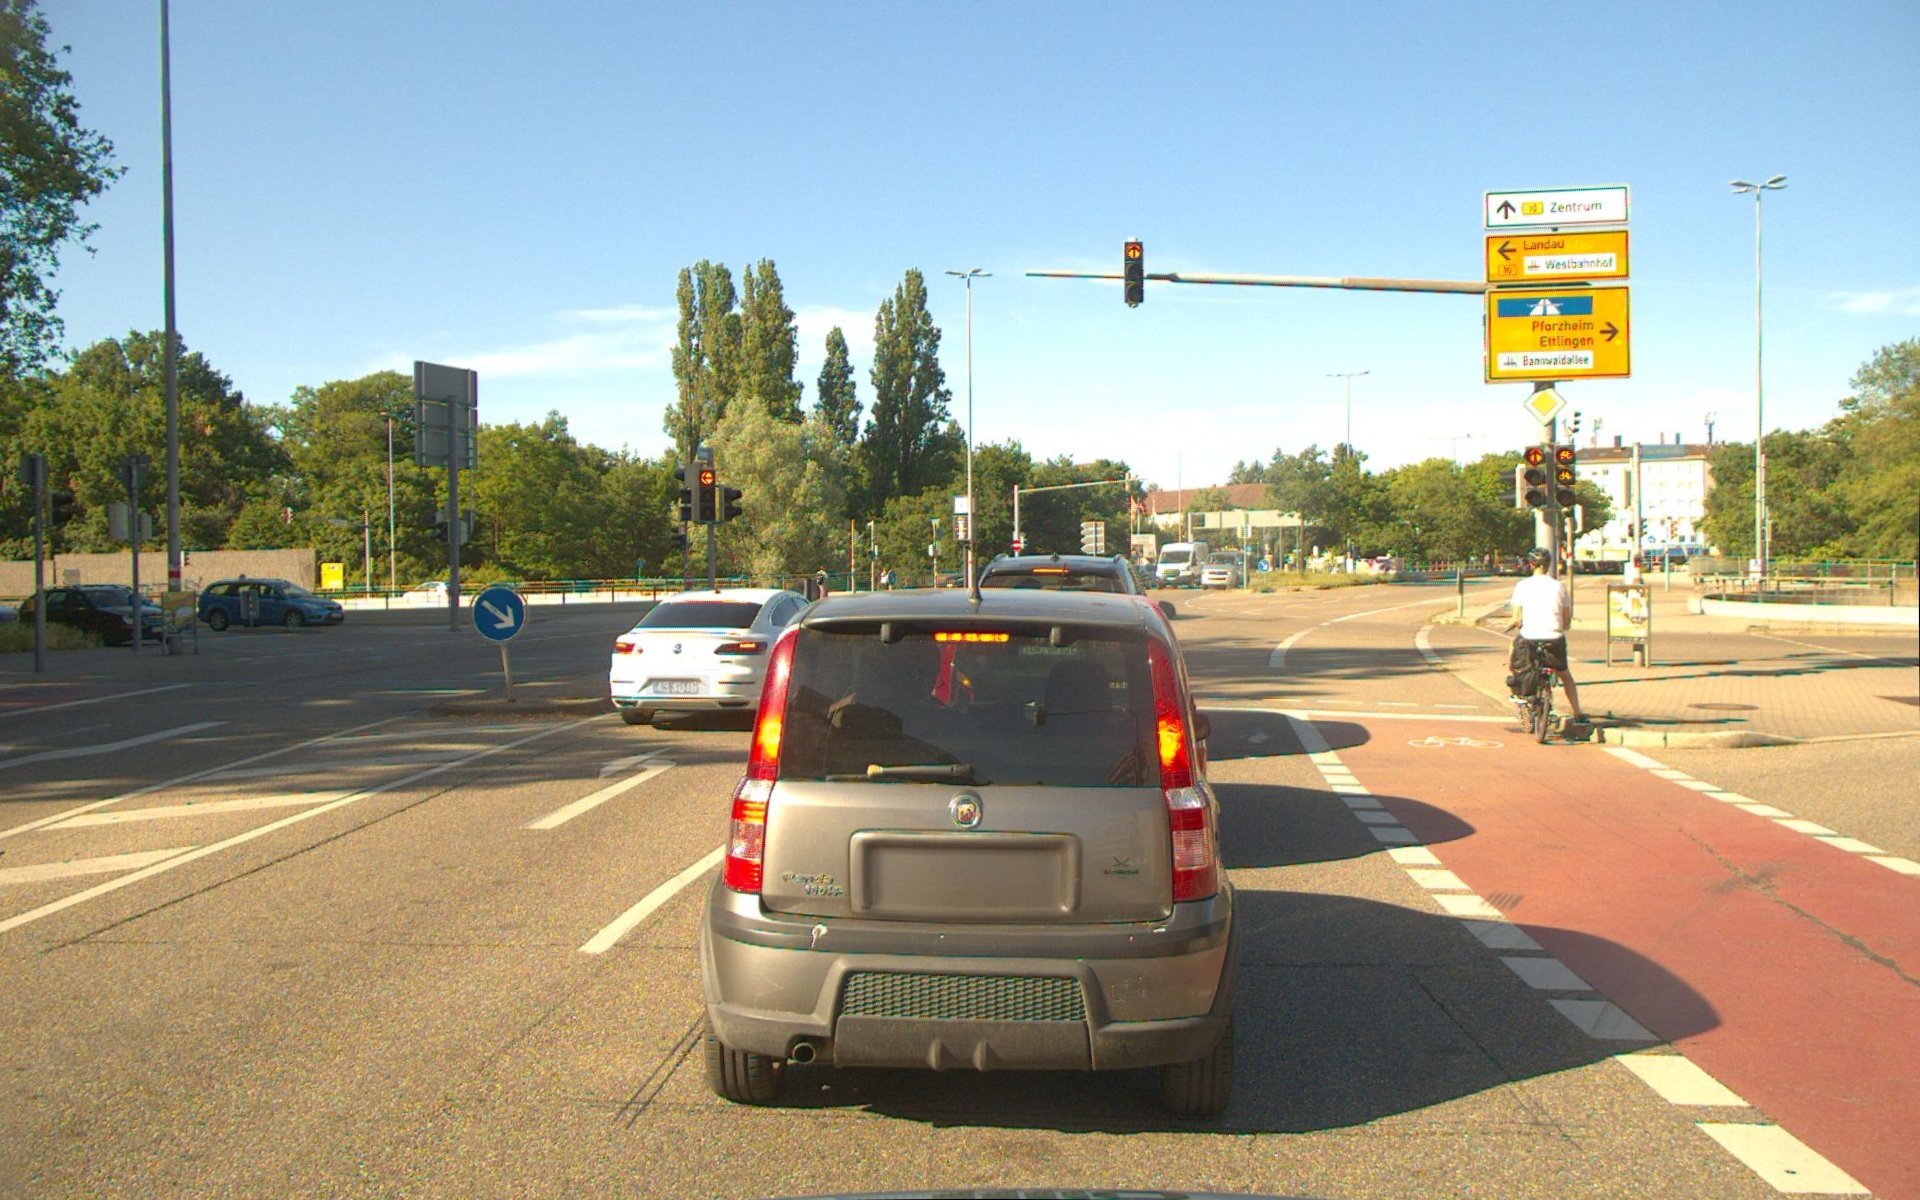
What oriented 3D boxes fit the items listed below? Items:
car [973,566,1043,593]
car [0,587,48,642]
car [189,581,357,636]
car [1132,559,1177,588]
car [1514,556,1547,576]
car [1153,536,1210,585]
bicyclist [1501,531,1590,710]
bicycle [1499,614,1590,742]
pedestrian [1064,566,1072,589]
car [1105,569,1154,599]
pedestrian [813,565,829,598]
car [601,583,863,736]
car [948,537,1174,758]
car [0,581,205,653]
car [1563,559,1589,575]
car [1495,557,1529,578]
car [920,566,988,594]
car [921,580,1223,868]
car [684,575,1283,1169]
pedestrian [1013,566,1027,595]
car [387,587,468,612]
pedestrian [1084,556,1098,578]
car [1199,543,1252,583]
[{"bbox_3d":[2.976,-1.289,102.043,4.292,1.562,1.758,-2,3,-42],"label":"car"},{"bbox_3d":[-26.381,0.381,43.536,4.404,1.381,1.879,0,1,24],"label":"car"},{"bbox_3d":[-20.748,0.244,50.001,4.348,1.567,1.953,-1,1,13],"label":"car"},{"bbox_3d":[11.616,-1.594,98.535,1.773,1.568,4.619,-2,1,18],"label":"car"},{"bbox_3d":[45.920,-2.724,133.053,1.908,1.555,4.093,0,1,27],"label":"car"},{"bbox_3d":[12.212,-2.183,90.955,1.896,2.621,6.091,0,1,19],"label":"car"},{"bbox_3d":[5.740,0.177,16.266,0.708,1.688,1.114,1,1,14],"label":"bicyclist"},{"bbox_3d":[5.754,0.735,16.362,0.676,1.121,1.828,1,1,14],"label":"bicycle"},{"bbox_3d":[8.298,-1.739,127.203,0.488,1.731,0.500,1,-1,24],"label":"pedestrian"},{"bbox_3d":[9.445,-0.925,91.901,1.896,1.534,4.003,-2,1,17],"label":"car"},{"bbox_3d":[-6.277,-0.840,74.823,0.666,1.488,0.702,-1,1,-7],"label":"pedestrian"},{"bbox_3d":[-2.374,0.553,18.375,1.742,1.439,4.323,0,1,8],"label":"car"},{"bbox_3d":[1.116,0.370,16.177,1.904,1.872,4.156,-1,1,7],"label":"car"},{"bbox_3d":[-21.045,0.397,40.233,4.668,1.649,1.953,0,1,15],"label":"car"},{"bbox_3d":[60.704,-3.260,163.024,1.908,1.555,4.092,0,1,28],"label":"car"},{"bbox_3d":[42.436,-2.503,127.037,1.907,1.555,4.093,0,1,27],"label":"car"},{"bbox_3d":[-0.362,-1.238,104.137,3.961,1.653,1.874,1,0,-39],"label":"car"},{"bbox_3d":[0.739,0.645,10.672,1.583,1.488,3.753,-1,1,4],"label":"car"},{"bbox_3d":[0.203,0.698,6.319,1.583,1.542,3.822,-1,1,4],"label":"car"},{"bbox_3d":[3.291,-1.081,90.776,0.547,1.574,0.573,-2,0,-16],"label":"pedestrian"},{"bbox_3d":[-31.388,-0.042,97.476,4.410,1.406,1.787,0,1,21],"label":"car"},{"bbox_3d":[10.008,-2.508,126.468,0.777,1.693,0.626,0,-1,40],"label":"pedestrian"},{"bbox_3d":[13.985,-1.966,86.993,1.896,2.043,4.933,0,1,19],"label":"car"}]
